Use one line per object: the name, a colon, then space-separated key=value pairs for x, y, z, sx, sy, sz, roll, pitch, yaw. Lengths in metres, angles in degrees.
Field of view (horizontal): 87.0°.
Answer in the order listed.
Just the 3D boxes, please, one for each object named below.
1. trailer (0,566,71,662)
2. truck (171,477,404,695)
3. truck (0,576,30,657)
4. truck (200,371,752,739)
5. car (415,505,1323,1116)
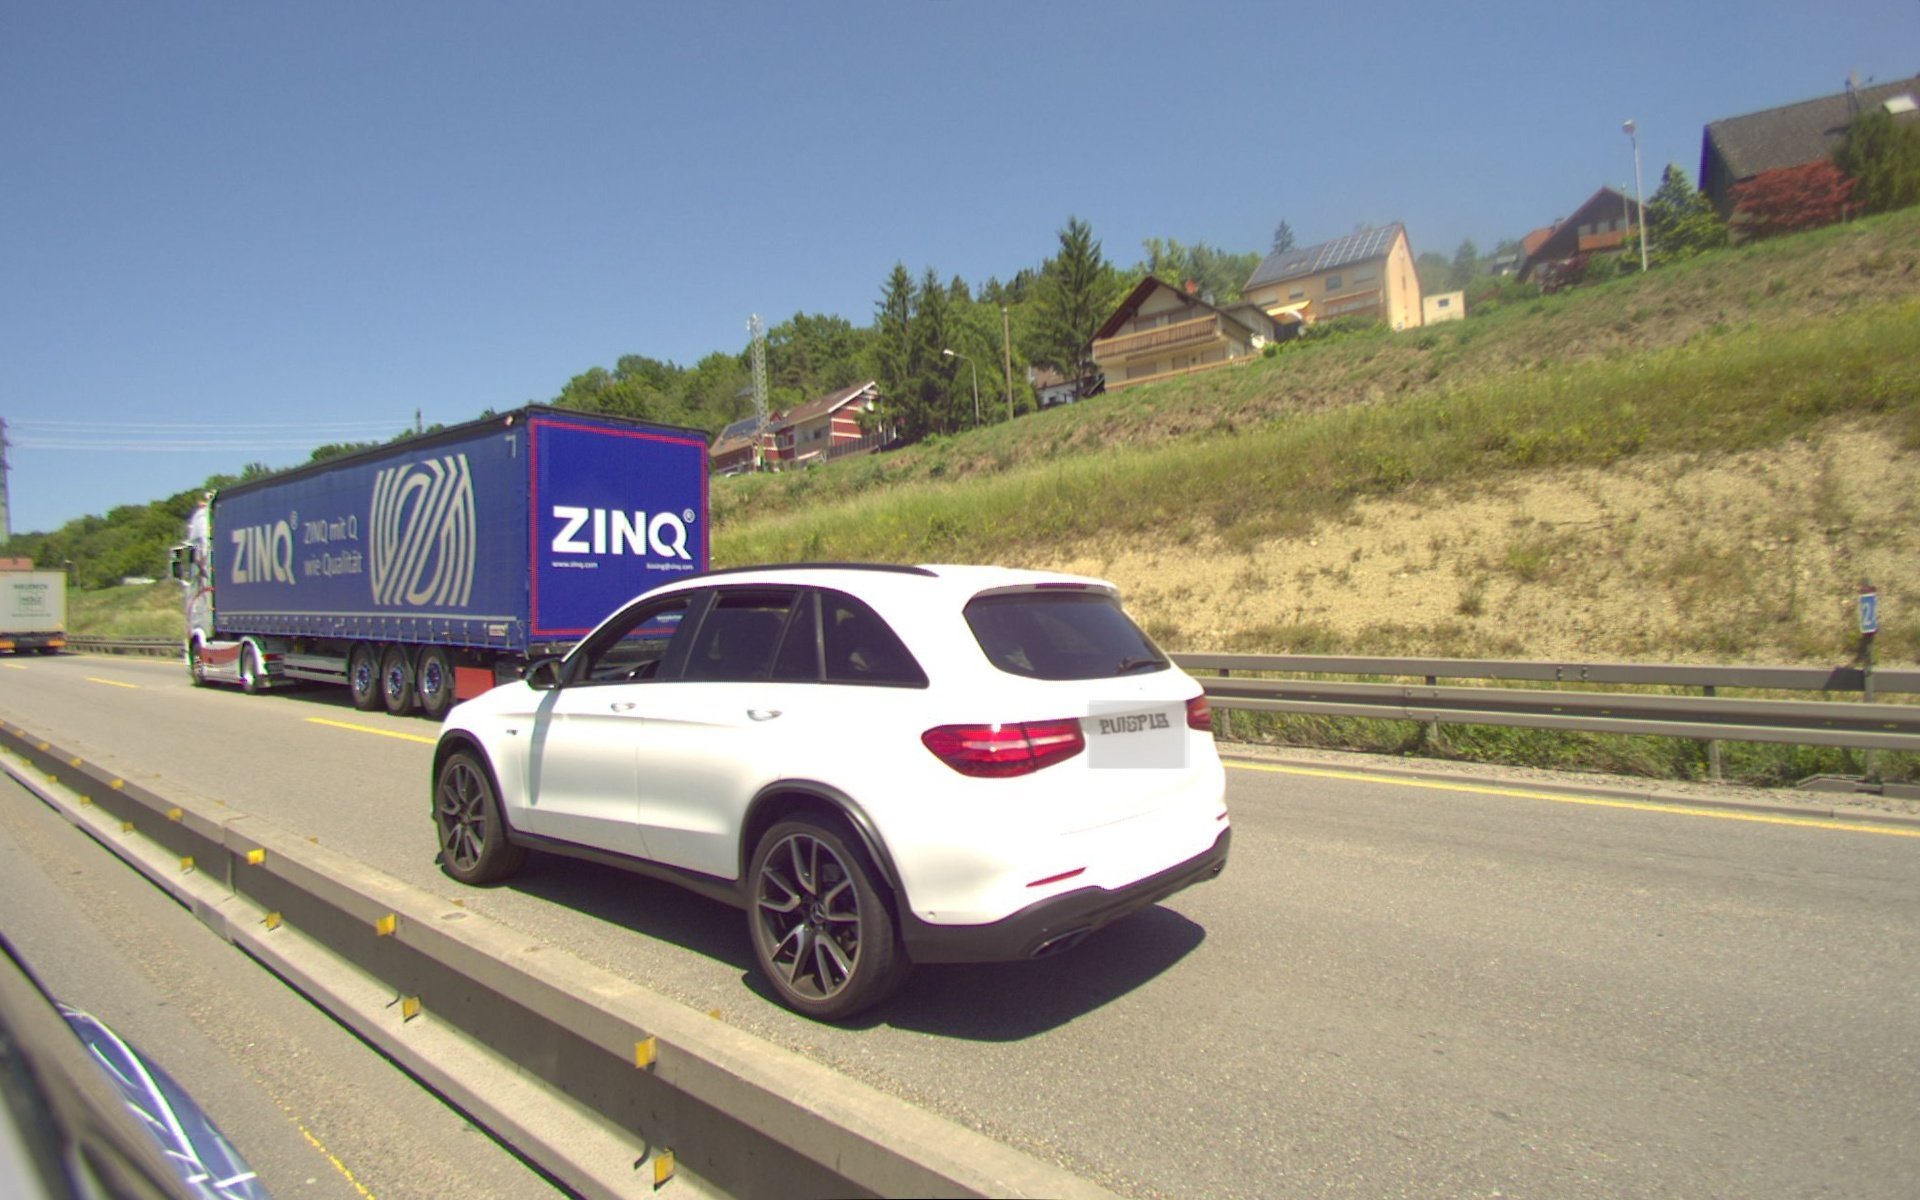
trailer: x=-47.679 y=0.768 z=50.679 sx=14.026 sy=4.319 sz=2.782 roll=-2 pitch=-1 yaw=41
truck: x=-14.696 y=-0.245 z=22.086 sx=4.245 sy=4.191 sz=3.206 roll=-2 pitch=-1 yaw=41
truck: x=-53.144 y=0.926 z=55.380 sx=4.673 sy=4.319 sz=2.746 roll=-2 pitch=-1 yaw=41
truck: x=-9.207 y=-0.383 z=17.330 sx=13.970 sy=4.191 sz=3.210 roll=-2 pitch=-1 yaw=41
car: x=-0.768 y=0.608 z=4.849 sx=4.359 sy=1.650 sz=1.794 roll=-2 pitch=-1 yaw=41
